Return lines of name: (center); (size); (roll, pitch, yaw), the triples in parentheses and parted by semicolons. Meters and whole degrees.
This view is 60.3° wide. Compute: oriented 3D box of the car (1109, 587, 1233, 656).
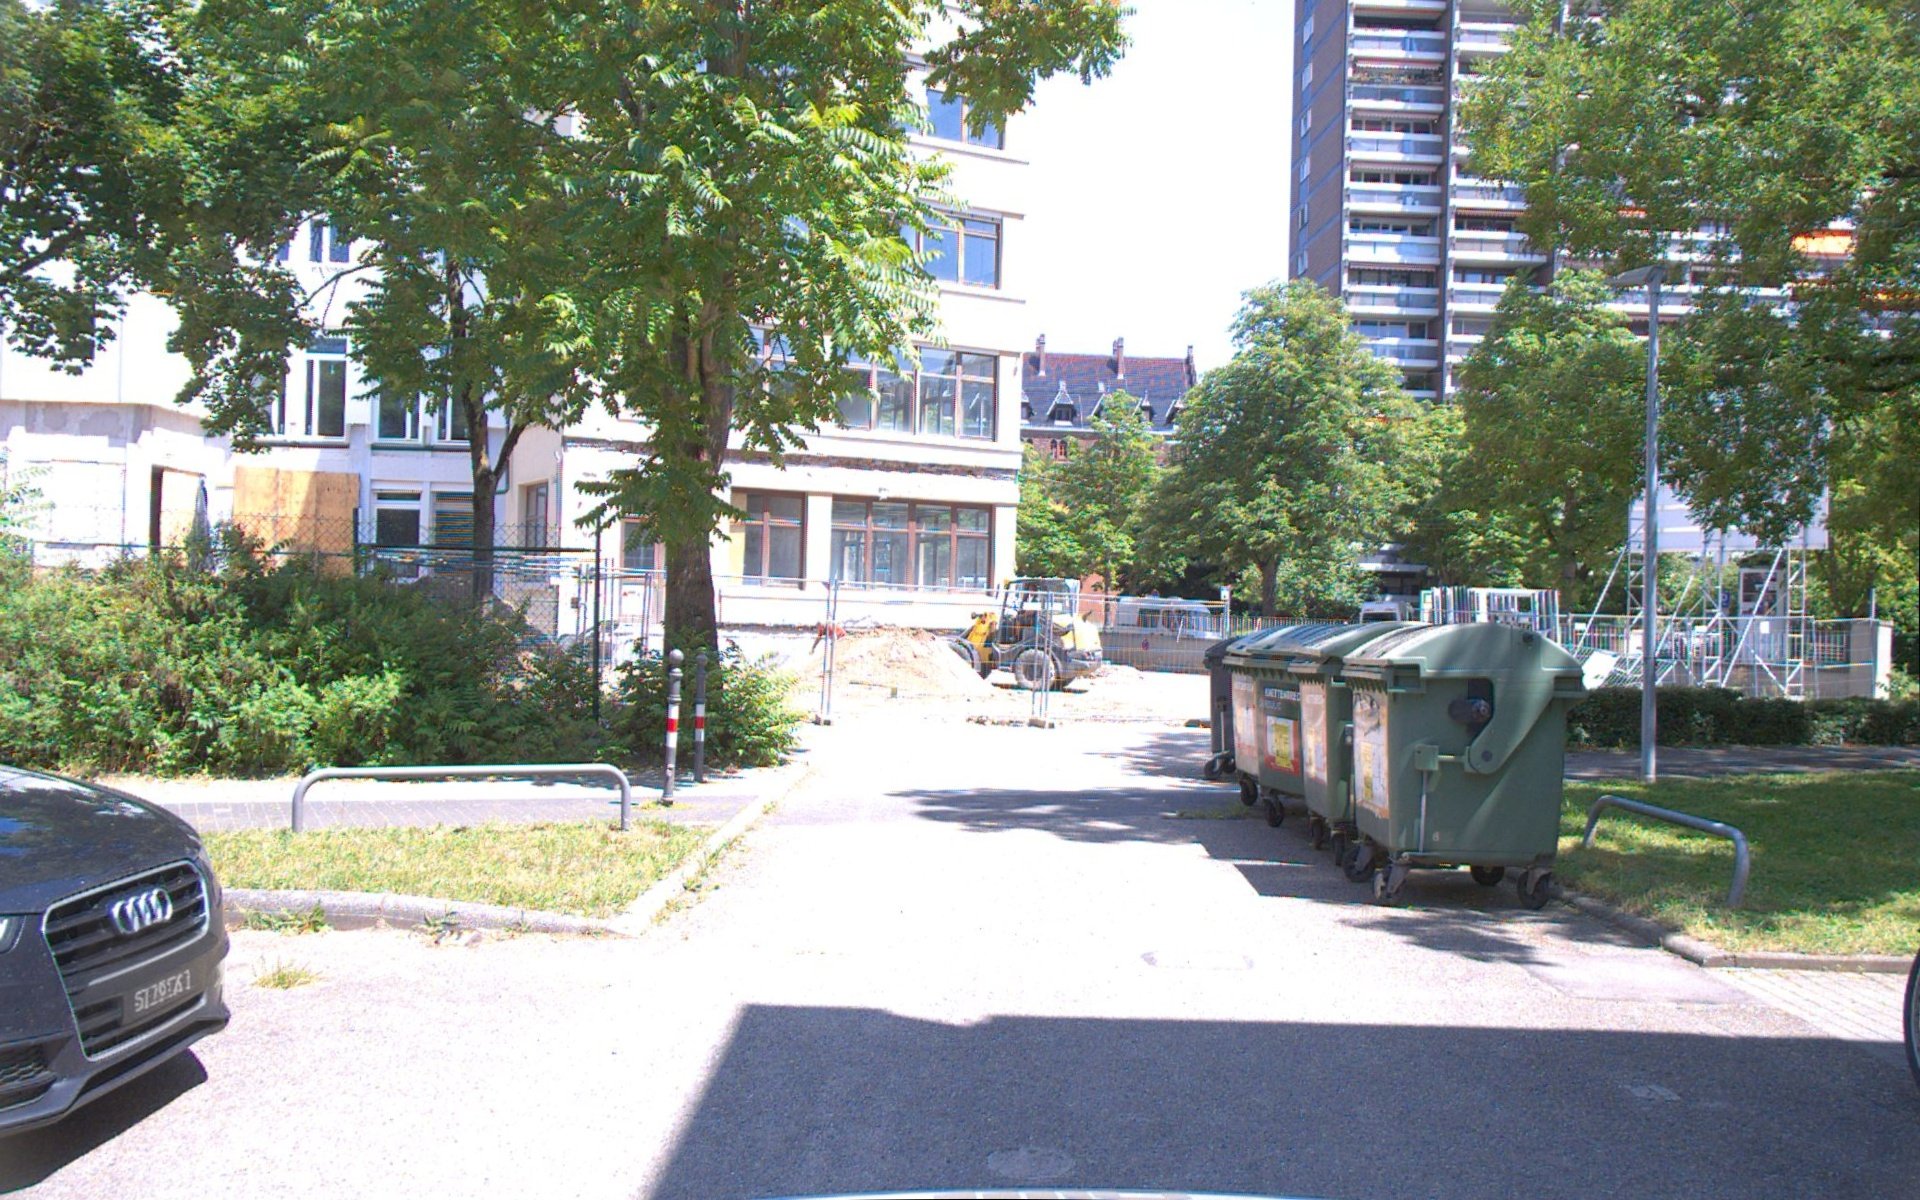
car: (7.862, 0.806, 62.143); (1.971, 2.459, 5.193); (2, -1, -29)

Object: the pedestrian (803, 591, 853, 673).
pedestrian: (-3.054, 0.741, 38.374); (0.894, 1.879, 0.987); (1, -1, 11)

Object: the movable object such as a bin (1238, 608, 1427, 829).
movable object such as a bin: (2.647, 0.815, 11.938); (1.053, 1.483, 1.377); (1, -1, 1)

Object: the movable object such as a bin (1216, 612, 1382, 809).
movable object such as a bin: (2.704, 0.853, 13.359); (1.053, 1.483, 1.377); (1, -1, 1)

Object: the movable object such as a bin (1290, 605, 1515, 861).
movable object such as a bin: (2.752, 0.795, 10.466); (1.053, 1.483, 1.377); (1, -1, 1)

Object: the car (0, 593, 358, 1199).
car: (-4.180, 0.653, 4.427); (4.337, 1.404, 2.024); (1, -1, 2)

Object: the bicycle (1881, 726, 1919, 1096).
bicycle: (3.158, 0.957, 4.396); (0.396, 1.121, 1.826); (1, -1, 0)

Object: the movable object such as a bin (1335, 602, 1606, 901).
movable object such as a bin: (2.731, 0.773, 9.023); (1.053, 1.483, 1.377); (1, -1, 1)

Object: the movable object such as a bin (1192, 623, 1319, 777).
movable object such as a bin: (2.988, 0.987, 16.865); (1.053, 1.483, 1.377); (1, -1, 1)

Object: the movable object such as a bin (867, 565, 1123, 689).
movable object such as a bin: (0.787, 0.589, 38.032); (5.299, 2.507, 2.365); (3, 0, 27)

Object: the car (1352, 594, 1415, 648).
car: (19.005, 0.965, 74.151); (2.139, 2.298, 4.868); (1, -1, 21)
